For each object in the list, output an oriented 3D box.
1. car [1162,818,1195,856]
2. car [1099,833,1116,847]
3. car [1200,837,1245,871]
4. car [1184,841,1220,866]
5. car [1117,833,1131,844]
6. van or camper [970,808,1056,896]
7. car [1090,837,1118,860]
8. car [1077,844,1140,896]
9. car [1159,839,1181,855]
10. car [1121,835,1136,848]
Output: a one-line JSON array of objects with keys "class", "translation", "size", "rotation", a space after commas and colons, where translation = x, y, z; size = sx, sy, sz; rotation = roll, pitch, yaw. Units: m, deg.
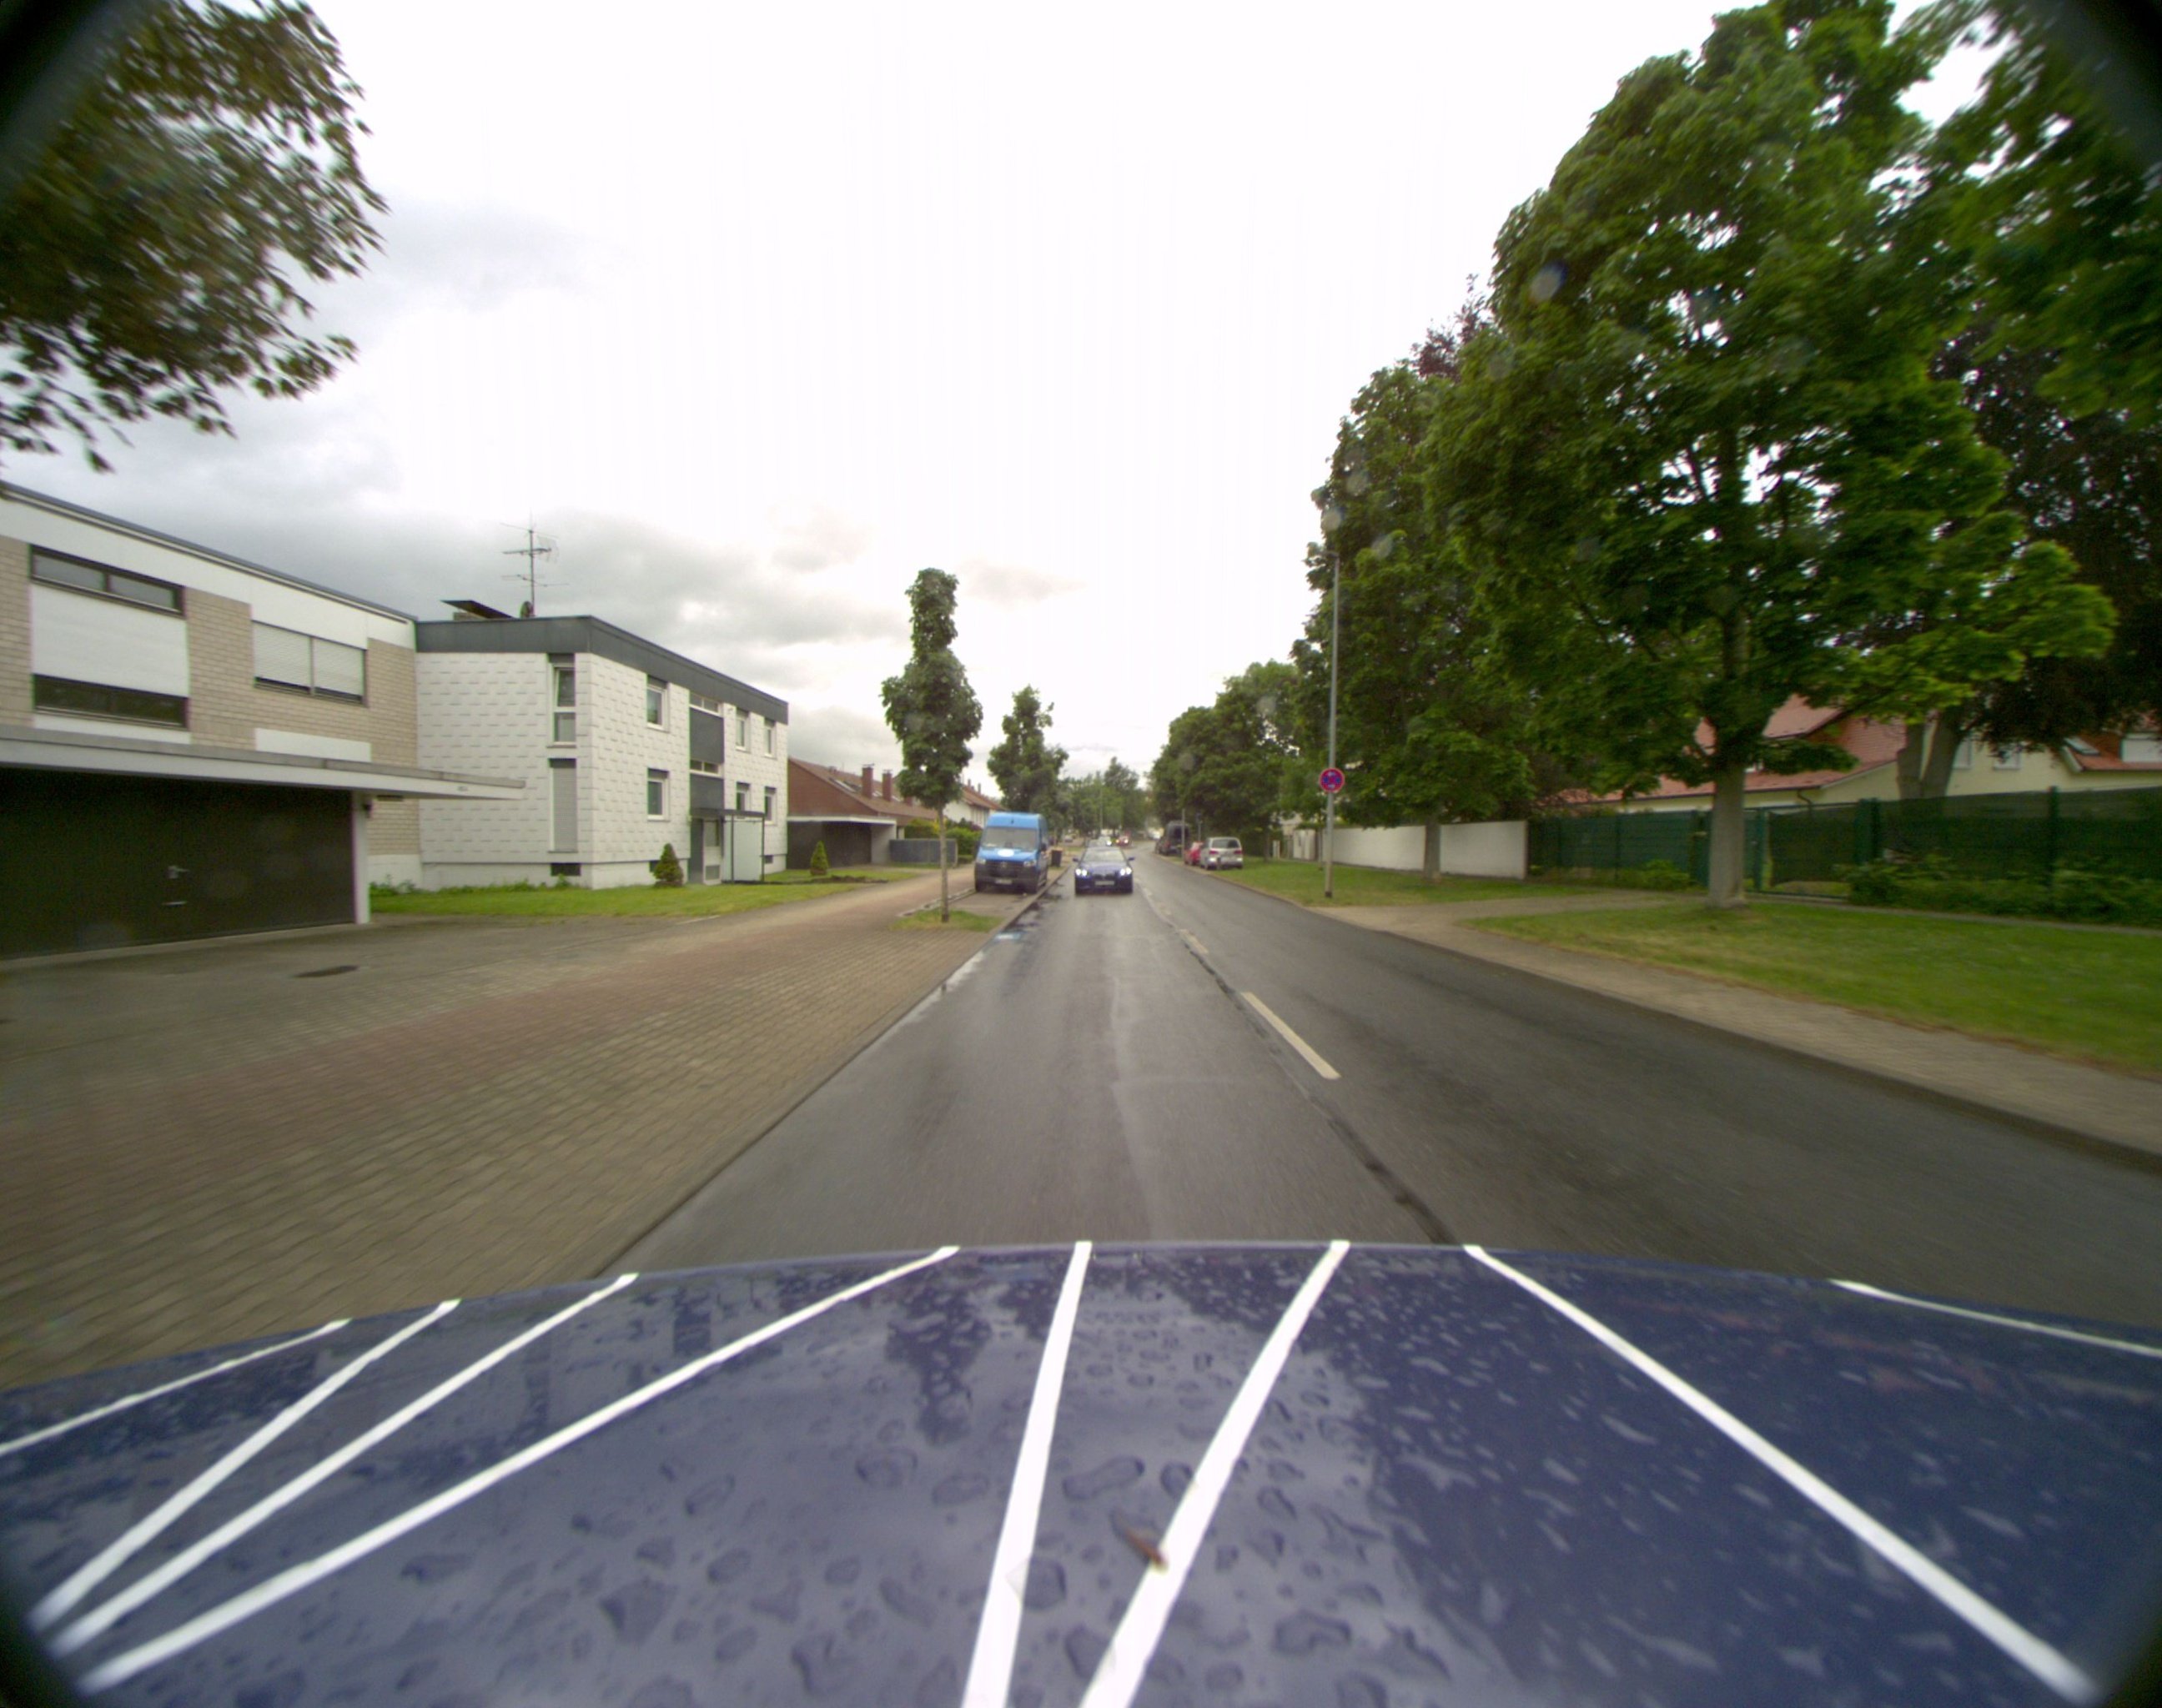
[{"class": "car", "translation": [7.850, -1.382, 61.504], "size": [2.247, 2.823, 5.044], "rotation": [-2, 2, 4]}, {"class": "car", "translation": [3.324, -1.734, 94.378], "size": [1.895, 1.531, 4.000], "rotation": [-2, 0, 3]}, {"class": "car", "translation": [7.054, -0.036, 38.292], "size": [1.775, 1.597, 4.000], "rotation": [0, 1, 4]}, {"class": "car", "translation": [6.921, -0.060, 43.711], "size": [1.706, 1.316, 3.843], "rotation": [-2, 1, 4]}, {"class": "car", "translation": [6.363, -2.242, 113.121], "size": [1.895, 1.531, 4.001], "rotation": [-2, 0, 5]}, {"class": "van or camper", "translation": [-2.150, -0.126, 25.775], "size": [2.148, 2.594, 5.781], "rotation": [1, 1, 2]}, {"class": "car", "translation": [1.685, -0.370, 54.783], "size": [1.846, 1.531, 4.000], "rotation": [-2, 0, 2]}, {"class": "car", "translation": [0.907, 0.477, 25.232], "size": [1.895, 1.531, 4.000], "rotation": [-2, 0, 2]}, {"class": "car", "translation": [7.926, -0.619, 68.155], "size": [1.706, 1.316, 3.843], "rotation": [-2, 1, 4]}, {"class": "car", "translation": [6.270, -1.638, 99.652], "size": [1.895, 1.531, 4.001], "rotation": [-2, 0, 5]}]
